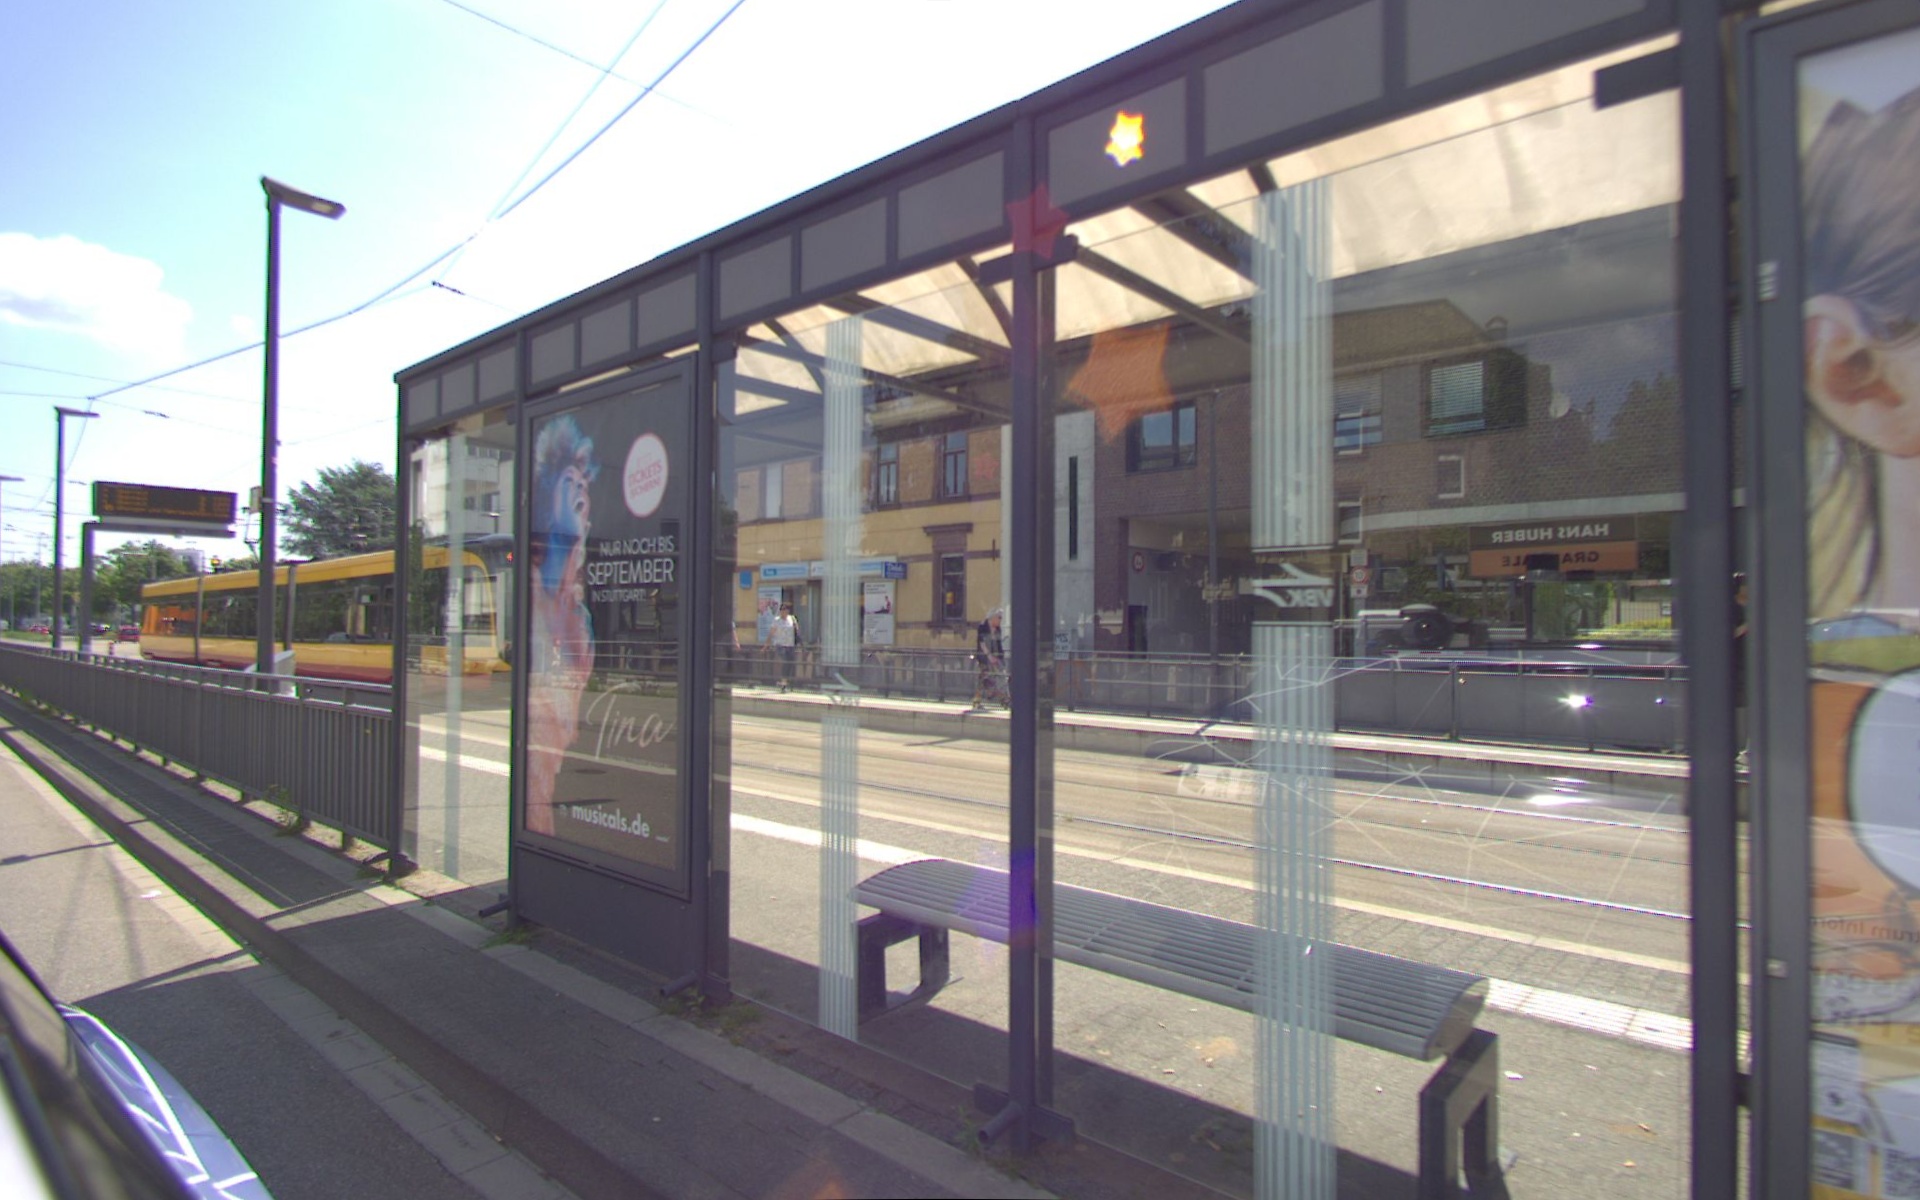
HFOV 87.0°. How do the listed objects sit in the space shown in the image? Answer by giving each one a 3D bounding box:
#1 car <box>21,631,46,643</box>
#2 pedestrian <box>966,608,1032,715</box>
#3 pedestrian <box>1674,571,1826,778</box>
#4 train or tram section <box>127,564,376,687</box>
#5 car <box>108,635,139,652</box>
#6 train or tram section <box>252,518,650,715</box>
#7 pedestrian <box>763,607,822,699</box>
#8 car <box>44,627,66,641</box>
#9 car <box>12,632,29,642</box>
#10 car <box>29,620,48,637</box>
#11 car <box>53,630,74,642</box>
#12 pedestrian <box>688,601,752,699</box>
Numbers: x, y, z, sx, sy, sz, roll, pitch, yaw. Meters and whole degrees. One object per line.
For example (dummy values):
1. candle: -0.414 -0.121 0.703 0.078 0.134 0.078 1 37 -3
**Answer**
1. car: -115.259 4.627 125.834 4.822 1.461 1.971 -2 -2 43
2. pedestrian: 0.605 0.937 15.628 0.761 1.608 0.678 -2 -3 41
3. pedestrian: 7.243 0.659 9.292 1.033 1.773 0.678 -2 -3 41
4. train or tram section: -27.052 0.948 37.638 20.498 3.594 3.215 -1 -3 43
5. car: -74.803 3.853 90.500 3.853 1.456 1.636 -1 -4 43
6. train or tram section: -13.480 0.473 25.129 16.347 3.594 3.200 -1 -3 43
7. pedestrian: -3.203 0.999 19.378 0.808 1.708 0.752 -2 -3 41
8. car: -133.725 5.034 149.513 3.998 1.980 1.941 -2 -3 41
9. car: -161.549 6.313 174.003 3.998 1.706 1.722 -2 -3 41
10. car: -145.435 4.556 159.765 3.998 2.608 1.722 -2 -3 41
11. car: -125.367 5.041 141.532 3.998 1.608 1.722 -2 -3 41
12. pedestrian: -4.605 0.945 19.410 0.951 1.813 0.752 -2 -3 41
